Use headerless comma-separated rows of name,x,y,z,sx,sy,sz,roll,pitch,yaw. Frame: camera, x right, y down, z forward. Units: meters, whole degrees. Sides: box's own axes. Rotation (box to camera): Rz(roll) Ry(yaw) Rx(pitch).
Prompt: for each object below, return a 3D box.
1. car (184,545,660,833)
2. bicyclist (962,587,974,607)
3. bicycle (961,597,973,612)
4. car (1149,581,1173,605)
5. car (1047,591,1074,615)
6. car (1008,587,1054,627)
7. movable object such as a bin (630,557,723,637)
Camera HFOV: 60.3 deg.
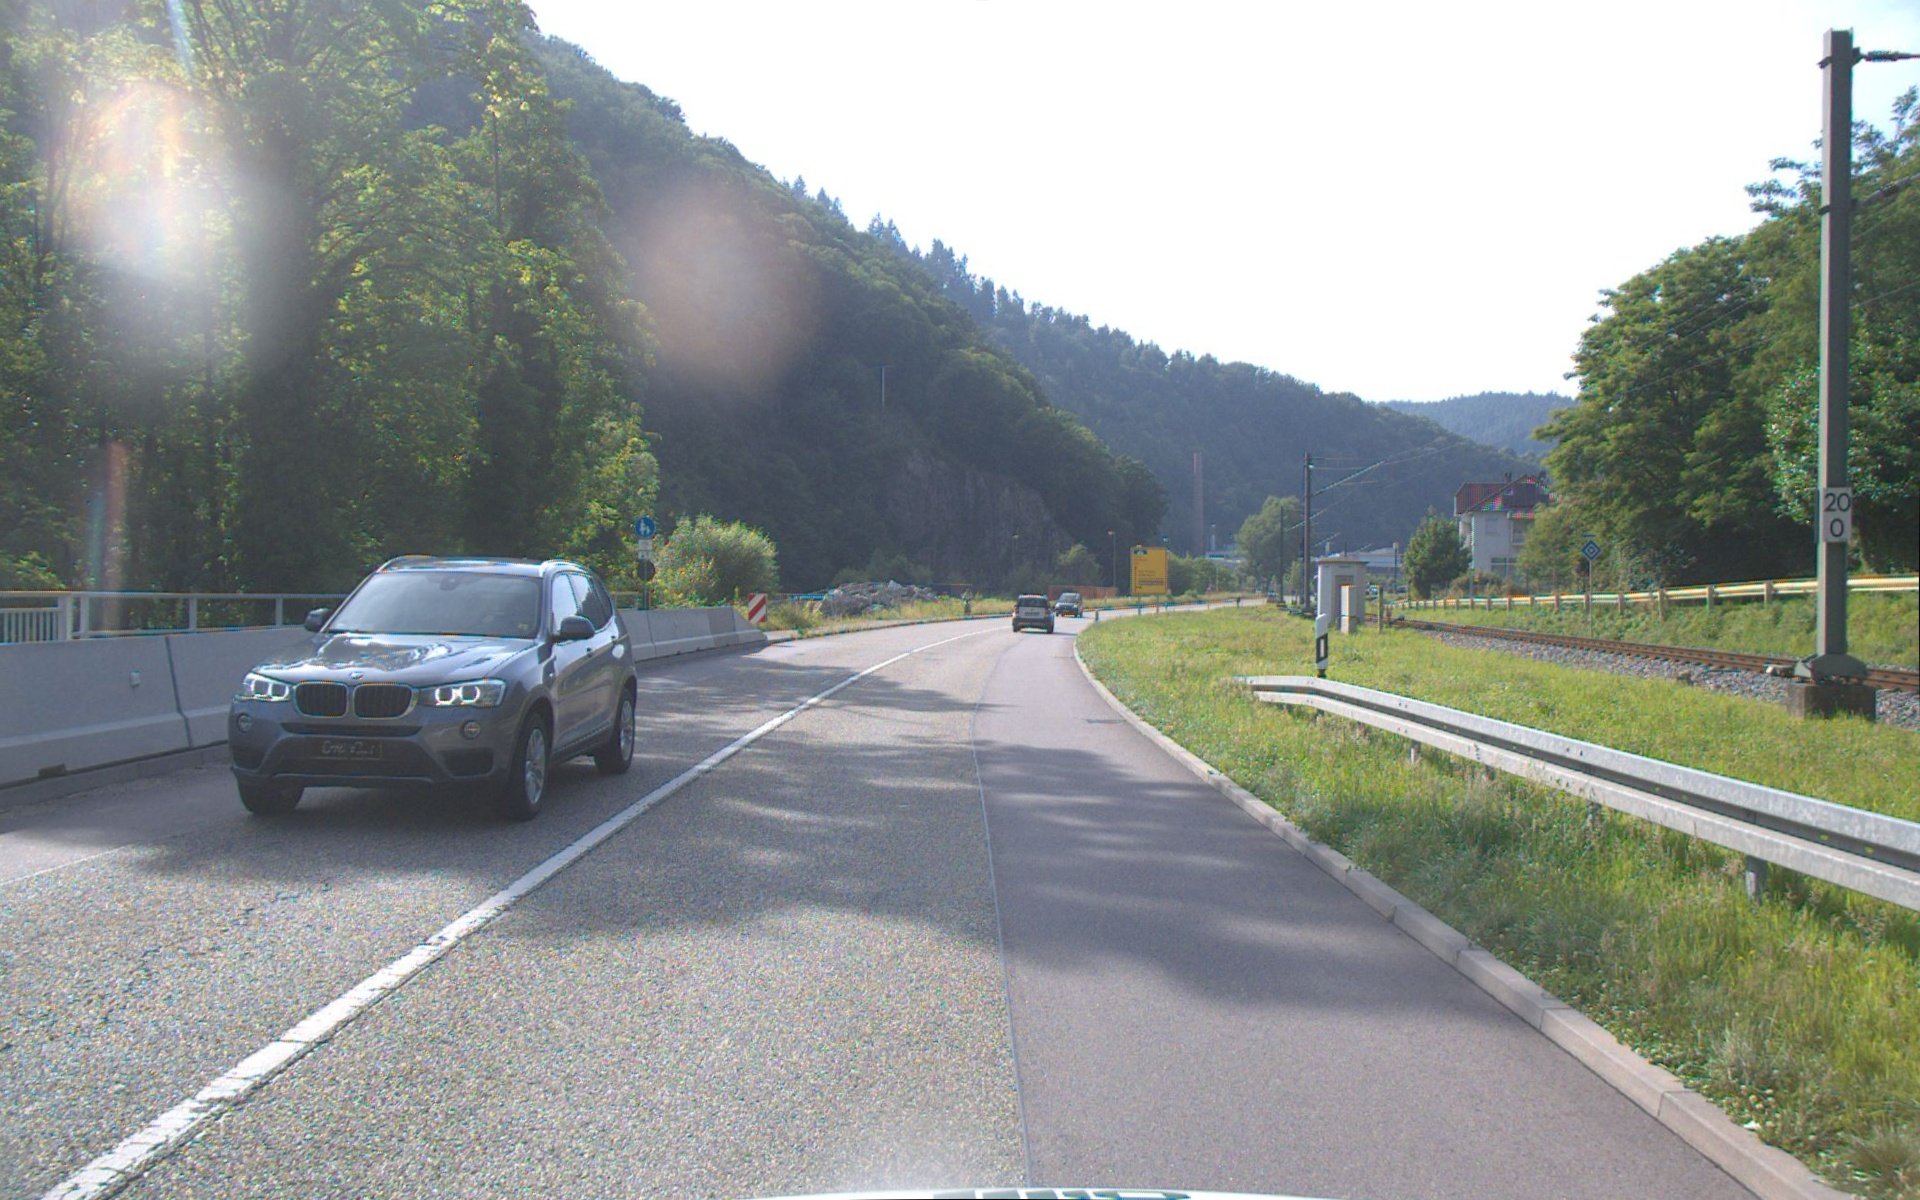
car,-3.567,0.512,11.979,1.953,1.657,4.507,1,0,0
bicyclist,0.510,-0.177,104.690,0.669,1.246,0.859,1,0,5
bicycle,0.471,0.276,104.673,0.528,0.896,2.254,2,0,5
car,17.258,-0.599,142.232,1.951,2.049,4.003,-2,0,7
car,7.839,0.207,129.112,1.812,1.816,4.687,2,0,6
car,3.246,0.307,74.892,1.952,1.753,3.992,-1,0,4
movable object such as a bin,-15.210,-0.146,89.518,2.642,4.016,9.994,-1,0,4
